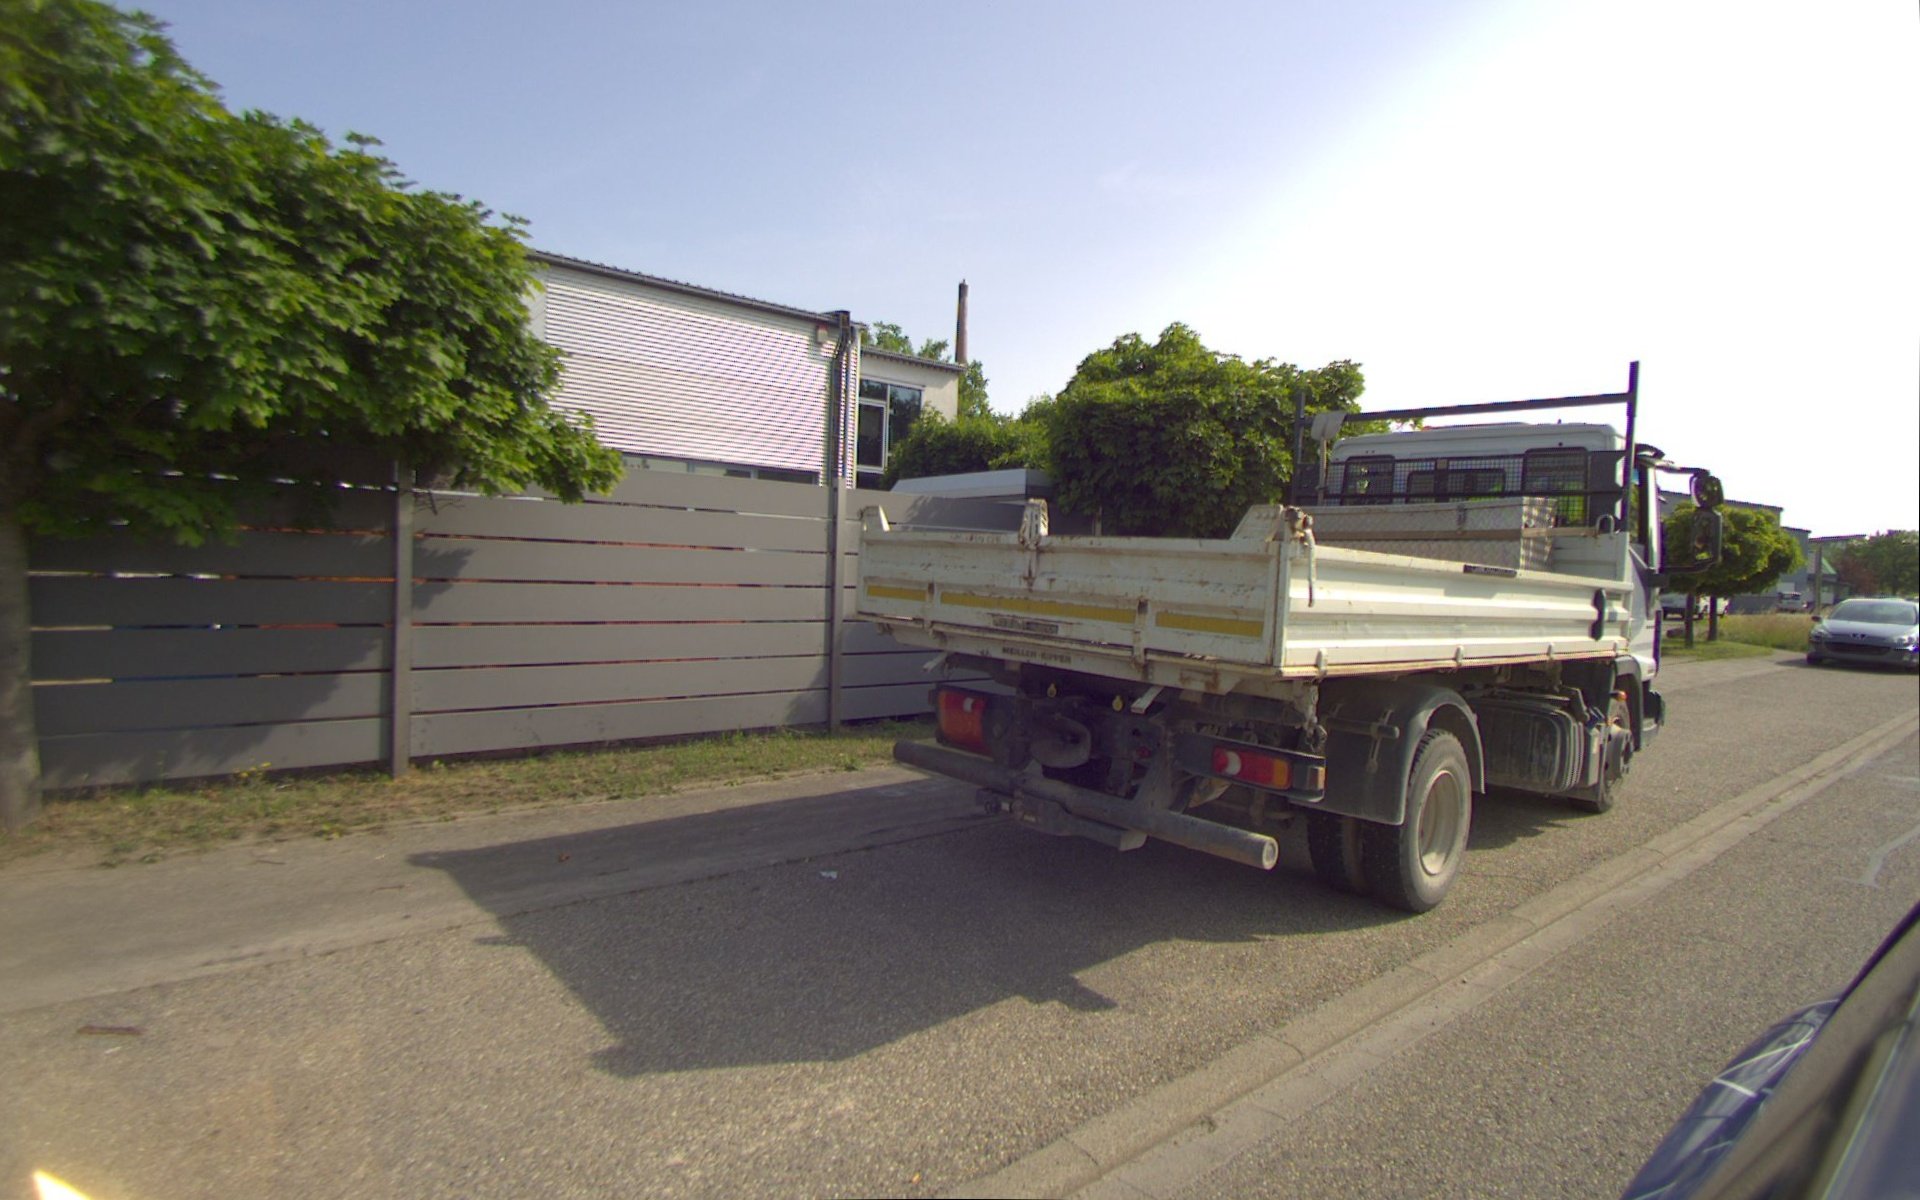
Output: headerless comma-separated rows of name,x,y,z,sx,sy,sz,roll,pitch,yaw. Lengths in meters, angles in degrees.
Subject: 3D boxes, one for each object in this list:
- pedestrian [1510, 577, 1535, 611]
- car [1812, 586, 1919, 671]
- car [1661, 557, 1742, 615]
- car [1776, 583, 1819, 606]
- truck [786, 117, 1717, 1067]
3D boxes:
pedestrian,27.822,-0.297,50.039,0.733,1.660,0.706,1,1,-9
car,19.393,0.528,21.082,4.346,1.536,1.798,0,3,-41
car,37.094,-0.681,50.549,5.778,2.739,1.978,0,2,-41
car,61.582,-0.454,74.452,1.624,1.587,3.769,2,2,28
truck,2.341,-0.081,5.986,6.403,2.714,2.362,0,3,-44
